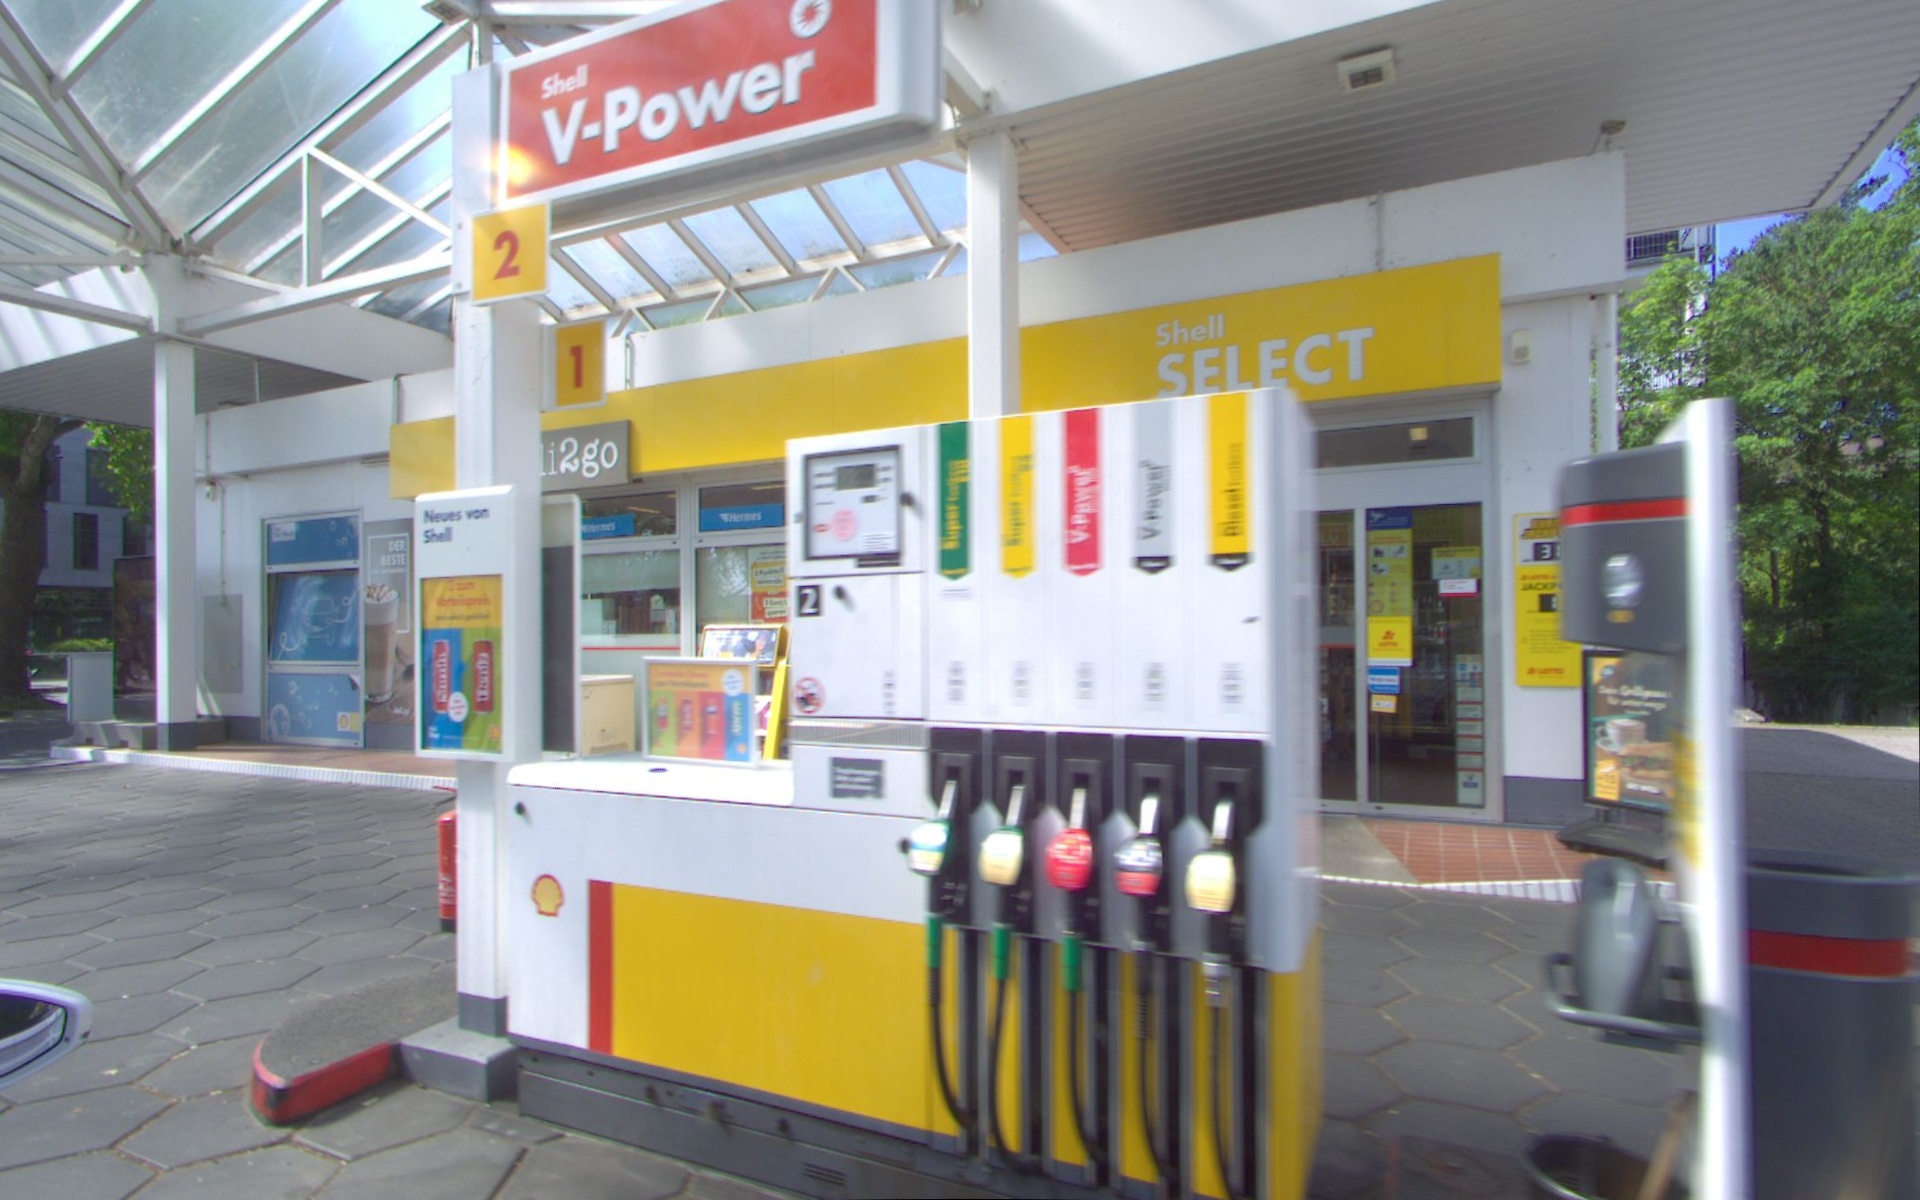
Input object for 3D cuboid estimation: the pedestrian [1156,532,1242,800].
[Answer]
[{"bbox_3d":[1.937,0.514,8.075,0.612,2.039,0.742,-1,-1,17],"label":"pedestrian"}]
